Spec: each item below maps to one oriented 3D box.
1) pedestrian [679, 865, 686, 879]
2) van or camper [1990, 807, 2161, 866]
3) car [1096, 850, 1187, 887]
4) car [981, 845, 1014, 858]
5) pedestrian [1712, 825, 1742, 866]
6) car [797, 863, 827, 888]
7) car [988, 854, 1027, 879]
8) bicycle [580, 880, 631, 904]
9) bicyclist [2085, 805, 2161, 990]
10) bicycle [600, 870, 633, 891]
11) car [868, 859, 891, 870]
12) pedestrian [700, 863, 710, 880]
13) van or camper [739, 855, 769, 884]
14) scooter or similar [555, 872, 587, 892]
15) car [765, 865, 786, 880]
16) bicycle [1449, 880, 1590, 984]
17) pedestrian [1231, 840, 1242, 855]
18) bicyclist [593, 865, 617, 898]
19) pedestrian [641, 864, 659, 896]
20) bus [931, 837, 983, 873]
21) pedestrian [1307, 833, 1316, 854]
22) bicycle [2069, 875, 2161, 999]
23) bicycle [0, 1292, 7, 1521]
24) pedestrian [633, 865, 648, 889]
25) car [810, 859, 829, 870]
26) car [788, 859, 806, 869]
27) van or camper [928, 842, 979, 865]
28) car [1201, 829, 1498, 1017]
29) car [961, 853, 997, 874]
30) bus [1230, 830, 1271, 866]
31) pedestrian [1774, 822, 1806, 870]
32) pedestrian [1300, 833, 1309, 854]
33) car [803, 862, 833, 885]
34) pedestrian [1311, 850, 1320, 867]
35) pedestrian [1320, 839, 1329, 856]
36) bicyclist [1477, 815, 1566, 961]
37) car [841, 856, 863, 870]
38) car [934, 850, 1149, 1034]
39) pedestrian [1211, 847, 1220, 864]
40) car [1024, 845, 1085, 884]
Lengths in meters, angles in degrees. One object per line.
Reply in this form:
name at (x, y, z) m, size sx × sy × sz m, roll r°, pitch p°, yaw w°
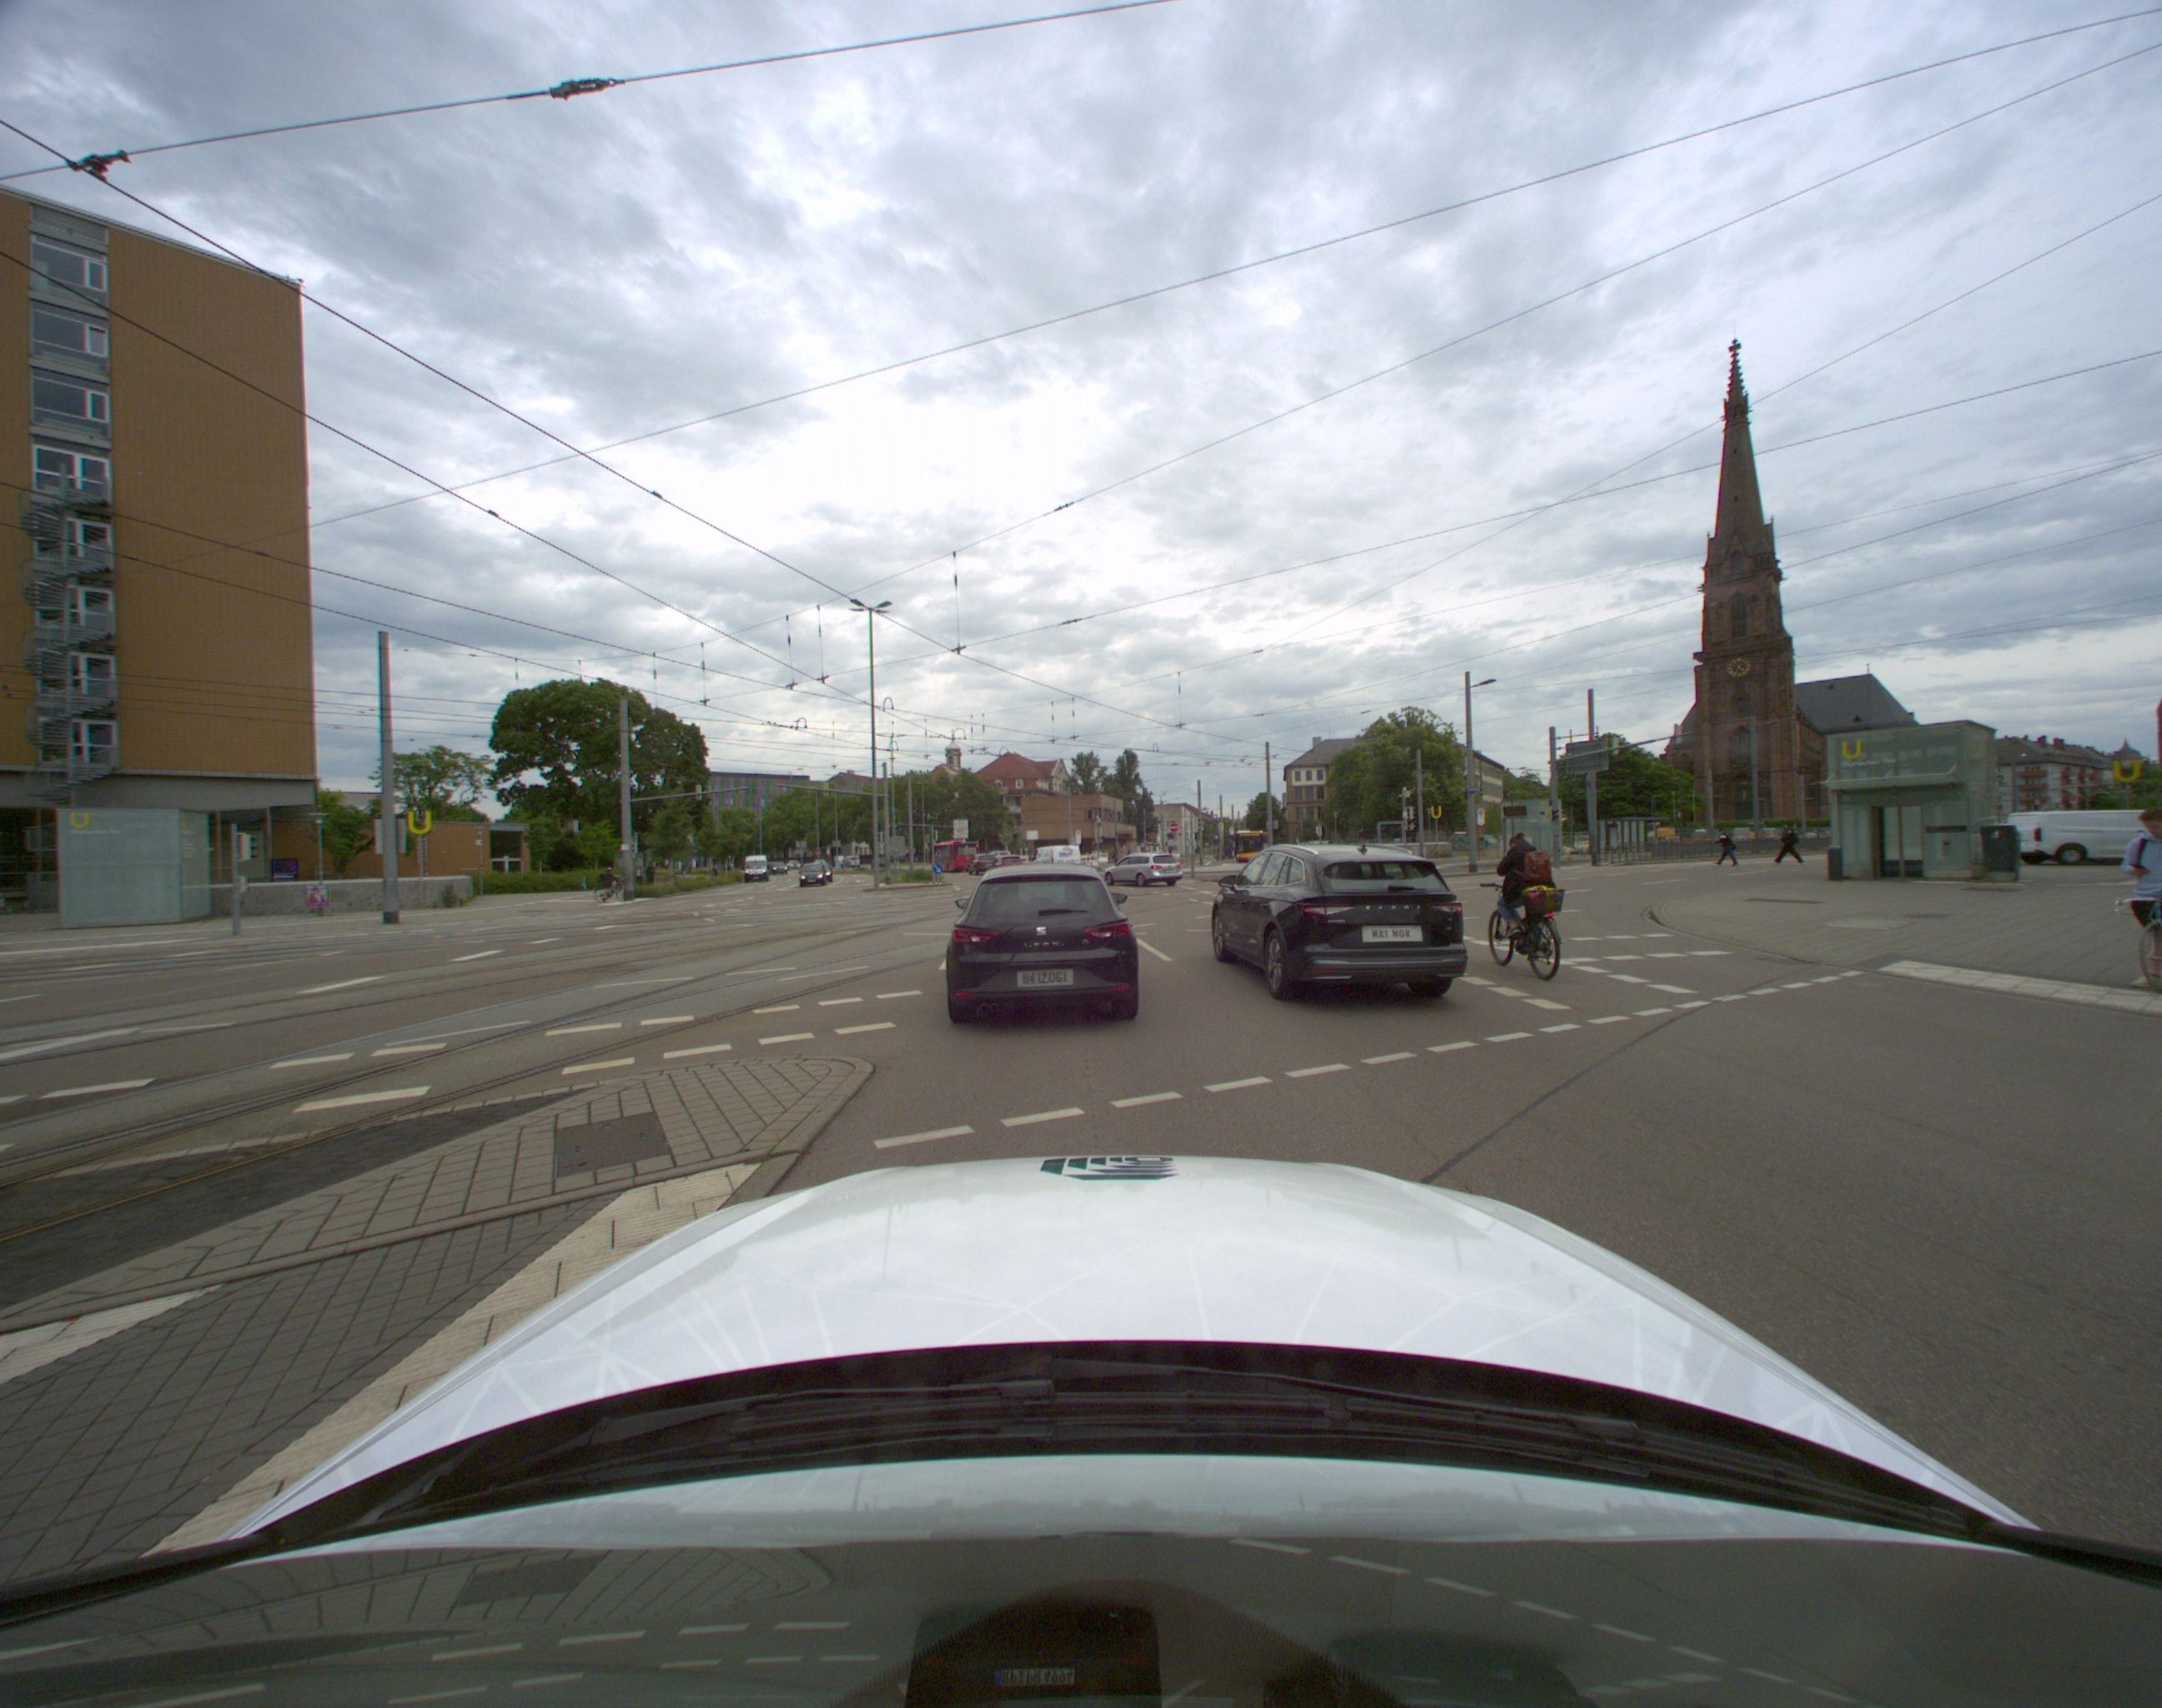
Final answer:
pedestrian at (-42.490, 1.924, 86.758) m, size 0.563 × 1.541 × 0.750 m, roll -2°, pitch 0°, yaw -21°
van or camper at (37.274, -0.633, 29.479) m, size 5.402 × 1.978 × 2.184 m, roll -2°, pitch 0°, yaw 21°
car at (2.678, 0.661, 37.124) m, size 1.732 × 1.482 × 4.582 m, roll -3°, pitch 1°, yaw -31°
car at (-13.510, -0.447, 132.329) m, size 5.032 × 1.864 × 1.976 m, roll -2°, pitch -3°, yaw -41°
pedestrian at (26.288, -0.338, 33.156) m, size 0.892 × 1.643 × 0.789 m, roll -2°, pitch 0°, yaw 37°
car at (-17.785, 1.413, 53.968) m, size 1.622 × 1.515 × 3.645 m, roll -3°, pitch 0°, yaw -16°
car at (-5.115, 0.820, 55.996) m, size 1.862 × 1.600 × 4.181 m, roll -2°, pitch 0°, yaw -17°
bicycle at (-24.781, 1.977, 42.489) m, size 2.114 × 1.028 × 0.792 m, roll -3°, pitch 3°, yaw -12°
bicyclist at (10.595, 0.410, 8.050) m, size 0.736 × 1.751 × 0.581 m, roll -4°, pitch -1°, yaw -24°
bicycle at (-33.934, 1.906, 59.580) m, size 0.842 × 1.449 × 2.259 m, roll -2°, pitch 0°, yaw 8°
car at (-27.668, 1.445, 111.721) m, size 2.006 × 1.539 × 3.961 m, roll -2°, pitch 0°, yaw -30°
pedestrian at (-43.431, 2.003, 94.067) m, size 0.897 × 1.842 × 0.662 m, roll -2°, pitch 0°, yaw -24°
van or camper at (-30.891, 1.436, 77.135) m, size 2.287 × 2.527 × 5.535 m, roll -3°, pitch 0°, yaw -20°
scooter or similar at (-35.620, 1.963, 56.898) m, size 1.781 × 1.302 × 0.624 m, roll -2°, pitch 0°, yaw -29°
car at (-39.148, 2.351, 104.298) m, size 1.881 × 1.725 × 4.670 m, roll -3°, pitch 1°, yaw -27°
bicycle at (5.377, 0.903, 10.159) m, size 0.623 × 1.055 × 2.126 m, roll -2°, pitch 1°, yaw 1°
pedestrian at (16.921, -0.707, 88.785) m, size 0.996 × 1.645 × 1.026 m, roll -2°, pitch 0°, yaw 18°
bicyclist at (-24.836, 1.439, 42.460) m, size 0.813 × 1.656 × 0.791 m, roll -1°, pitch 2°, yaw -12°
pedestrian at (-27.742, 1.658, 52.435) m, size 0.819 × 1.980 × 0.656 m, roll -3°, pitch 0°, yaw -12°
bus at (-12.704, 0.161, 82.104) m, size 3.067 × 3.297 × 12.300 m, roll -2°, pitch 0°, yaw -19°
pedestrian at (47.653, -2.112, 168.383) m, size 1.301 × 4.253 × 1.348 m, roll -2°, pitch 0°, yaw 4°
bicycle at (10.699, 0.778, 8.095) m, size 1.995 × 0.998 × 0.575 m, roll -4°, pitch -1°, yaw -24°
bicycle at (-3.005, 1.011, 1.194) m, size 1.622 × 1.070 × 0.522 m, roll -2°, pitch 0°, yaw -37°
pedestrian at (-32.917, 1.733, 60.801) m, size 0.747 × 1.733 × 0.683 m, roll -3°, pitch 0°, yaw -12°
car at (-44.490, 1.814, 138.476) m, size 2.008 × 1.750 × 3.958 m, roll -2°, pitch 0°, yaw -34°
car at (-49.413, 1.825, 141.625) m, size 2.008 × 1.640 × 3.959 m, roll -2°, pitch 0°, yaw -33°
van or camper at (-19.826, -0.095, 126.873) m, size 7.192 × 3.332 × 2.842 m, roll -2°, pitch -1°, yaw -42°
car at (2.814, 0.625, 9.760) m, size 1.898 × 1.658 × 4.511 m, roll -2°, pitch 0°, yaw -2°
car at (-8.226, 0.778, 65.598) m, size 2.000 × 1.566 × 4.177 m, roll -2°, pitch 0°, yaw -20°
bus at (17.052, -0.617, 81.260) m, size 2.994 × 3.268 × 13.097 m, roll -2°, pitch 0°, yaw 15°
pedestrian at (29.468, -0.328, 33.852) m, size 0.892 × 1.912 × 0.789 m, roll -2°, pitch 0°, yaw 37°
pedestrian at (46.224, -2.246, 168.648) m, size 1.381 × 4.253 × 1.348 m, roll -2°, pitch 0°, yaw 3°
car at (-19.941, 1.421, 61.887) m, size 1.875 × 1.508 × 4.454 m, roll -5°, pitch 1°, yaw -16°
pedestrian at (25.698, 0.467, 89.216) m, size 0.817 × 1.808 × 1.026 m, roll -4°, pitch -2°, yaw 19°
pedestrian at (26.305, -0.726, 88.019) m, size 0.817 × 1.853 × 1.026 m, roll -2°, pitch 0°, yaw 19°
bicyclist at (5.347, 0.392, 9.918) m, size 0.613 × 1.690 × 0.806 m, roll -2°, pitch 0°, yaw 0°
car at (-35.057, 1.360, 124.653) m, size 2.009 × 2.013 × 3.956 m, roll -2°, pitch 0°, yaw -36°
car at (-0.429, 0.712, 8.712) m, size 1.742 × 1.464 × 3.995 m, roll -1°, pitch 0°, yaw -3°
pedestrian at (15.001, 0.149, 90.922) m, size 0.817 × 1.808 × 1.026 m, roll -2°, pitch 0°, yaw 19°
car at (-1.568, 0.579, 46.526) m, size 2.000 × 2.019 × 4.998 m, roll -2°, pitch 0°, yaw -20°
